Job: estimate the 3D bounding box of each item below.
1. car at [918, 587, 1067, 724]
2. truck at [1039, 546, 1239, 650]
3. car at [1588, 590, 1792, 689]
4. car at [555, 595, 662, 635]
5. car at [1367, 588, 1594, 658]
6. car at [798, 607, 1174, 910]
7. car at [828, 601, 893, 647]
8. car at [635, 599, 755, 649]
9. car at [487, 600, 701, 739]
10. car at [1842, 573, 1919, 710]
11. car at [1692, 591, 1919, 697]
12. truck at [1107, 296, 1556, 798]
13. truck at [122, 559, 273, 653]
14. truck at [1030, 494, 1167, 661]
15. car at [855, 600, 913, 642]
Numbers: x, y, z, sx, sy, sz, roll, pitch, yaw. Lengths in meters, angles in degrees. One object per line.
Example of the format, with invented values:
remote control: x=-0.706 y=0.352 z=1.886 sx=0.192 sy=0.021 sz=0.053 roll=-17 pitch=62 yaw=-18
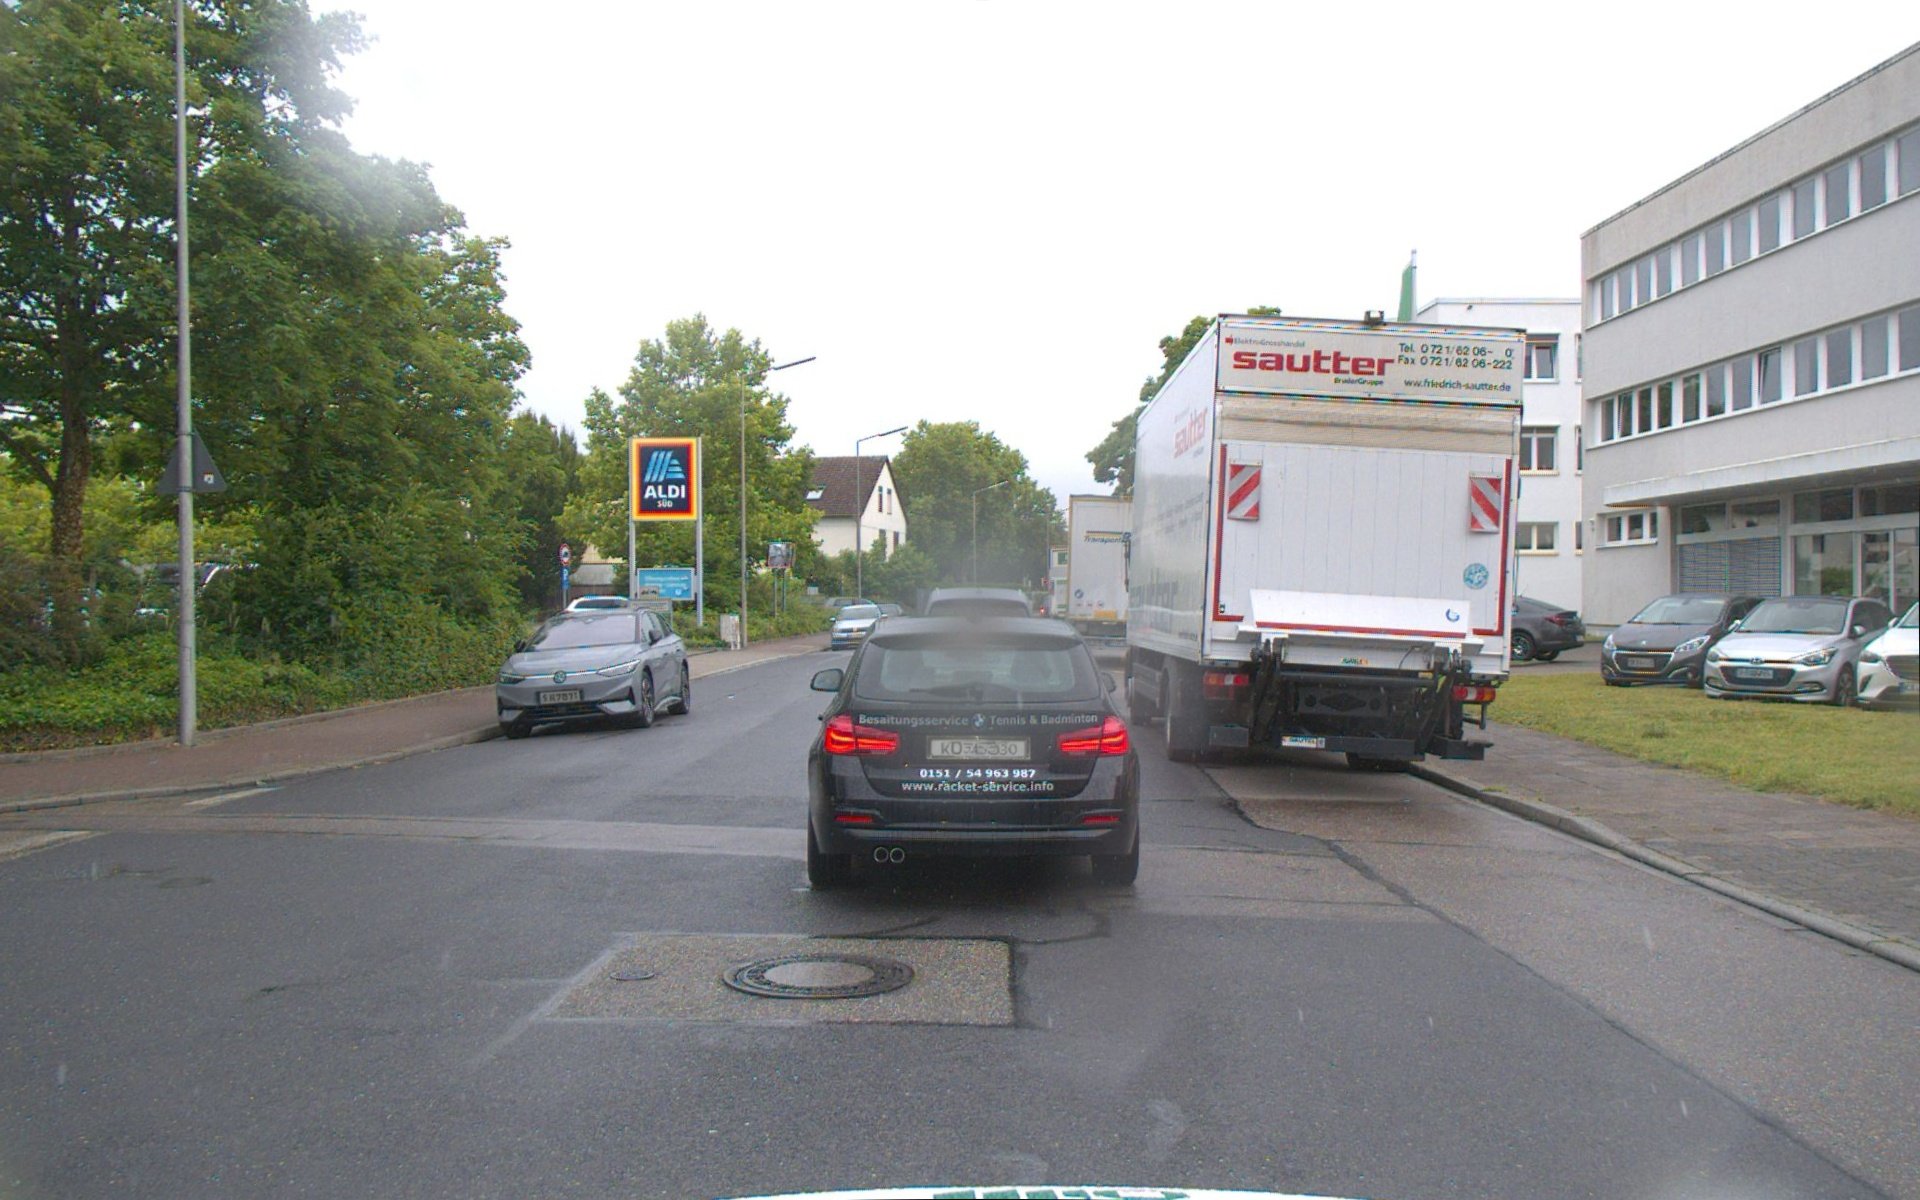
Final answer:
car: x=0.335 y=0.676 z=21.741 sx=1.768 sy=1.614 sz=3.999 roll=1 pitch=0 yaw=-2
truck: x=6.335 y=-0.085 z=57.542 sx=7.684 sy=3.313 sz=2.314 roll=0 pitch=3 yaw=-42
car: x=11.384 y=0.560 z=25.700 sx=3.740 sy=1.417 sz=1.678 roll=-1 pitch=0 yaw=-45
car: x=-14.196 y=0.606 z=66.994 sx=3.904 sy=1.567 sz=1.911 roll=0 pitch=0 yaw=1
car: x=11.704 y=0.504 z=37.370 sx=4.586 sy=1.493 sz=1.783 roll=0 pitch=0 yaw=39
car: x=0.076 y=0.765 z=9.820 sx=1.768 sy=1.419 sz=3.999 roll=1 pitch=0 yaw=-2
car: x=-3.293 y=0.778 z=55.408 sx=1.670 sy=1.391 sz=4.602 roll=-3 pitch=0 yaw=2
car: x=-8.491 y=0.755 z=53.196 sx=3.495 sy=1.485 sz=1.713 roll=1 pitch=0 yaw=2
car: x=-4.786 y=0.846 z=22.317 sx=1.772 sy=1.555 sz=4.747 roll=-4 pitch=0 yaw=-1
car: x=11.937 y=0.441 z=19.380 sx=3.971 sy=1.496 sz=1.746 roll=-1 pitch=0 yaw=-45
car: x=11.656 y=0.547 z=22.648 sx=3.971 sy=1.309 sz=1.678 roll=-1 pitch=0 yaw=-45
truck: x=3.346 y=-0.424 z=17.701 sx=2.685 sy=3.855 sz=9.299 roll=2 pitch=0 yaw=1
truck: x=-24.424 y=0.185 z=53.287 sx=1.953 sy=2.801 sz=6.466 roll=0 pitch=0 yaw=-1
truck: x=3.291 y=-0.521 z=41.244 sx=2.685 sy=3.674 sz=7.749 roll=2 pitch=0 yaw=0
car: x=-2.787 y=0.758 z=61.378 sx=1.670 sy=1.391 sz=3.840 roll=-3 pitch=0 yaw=4
